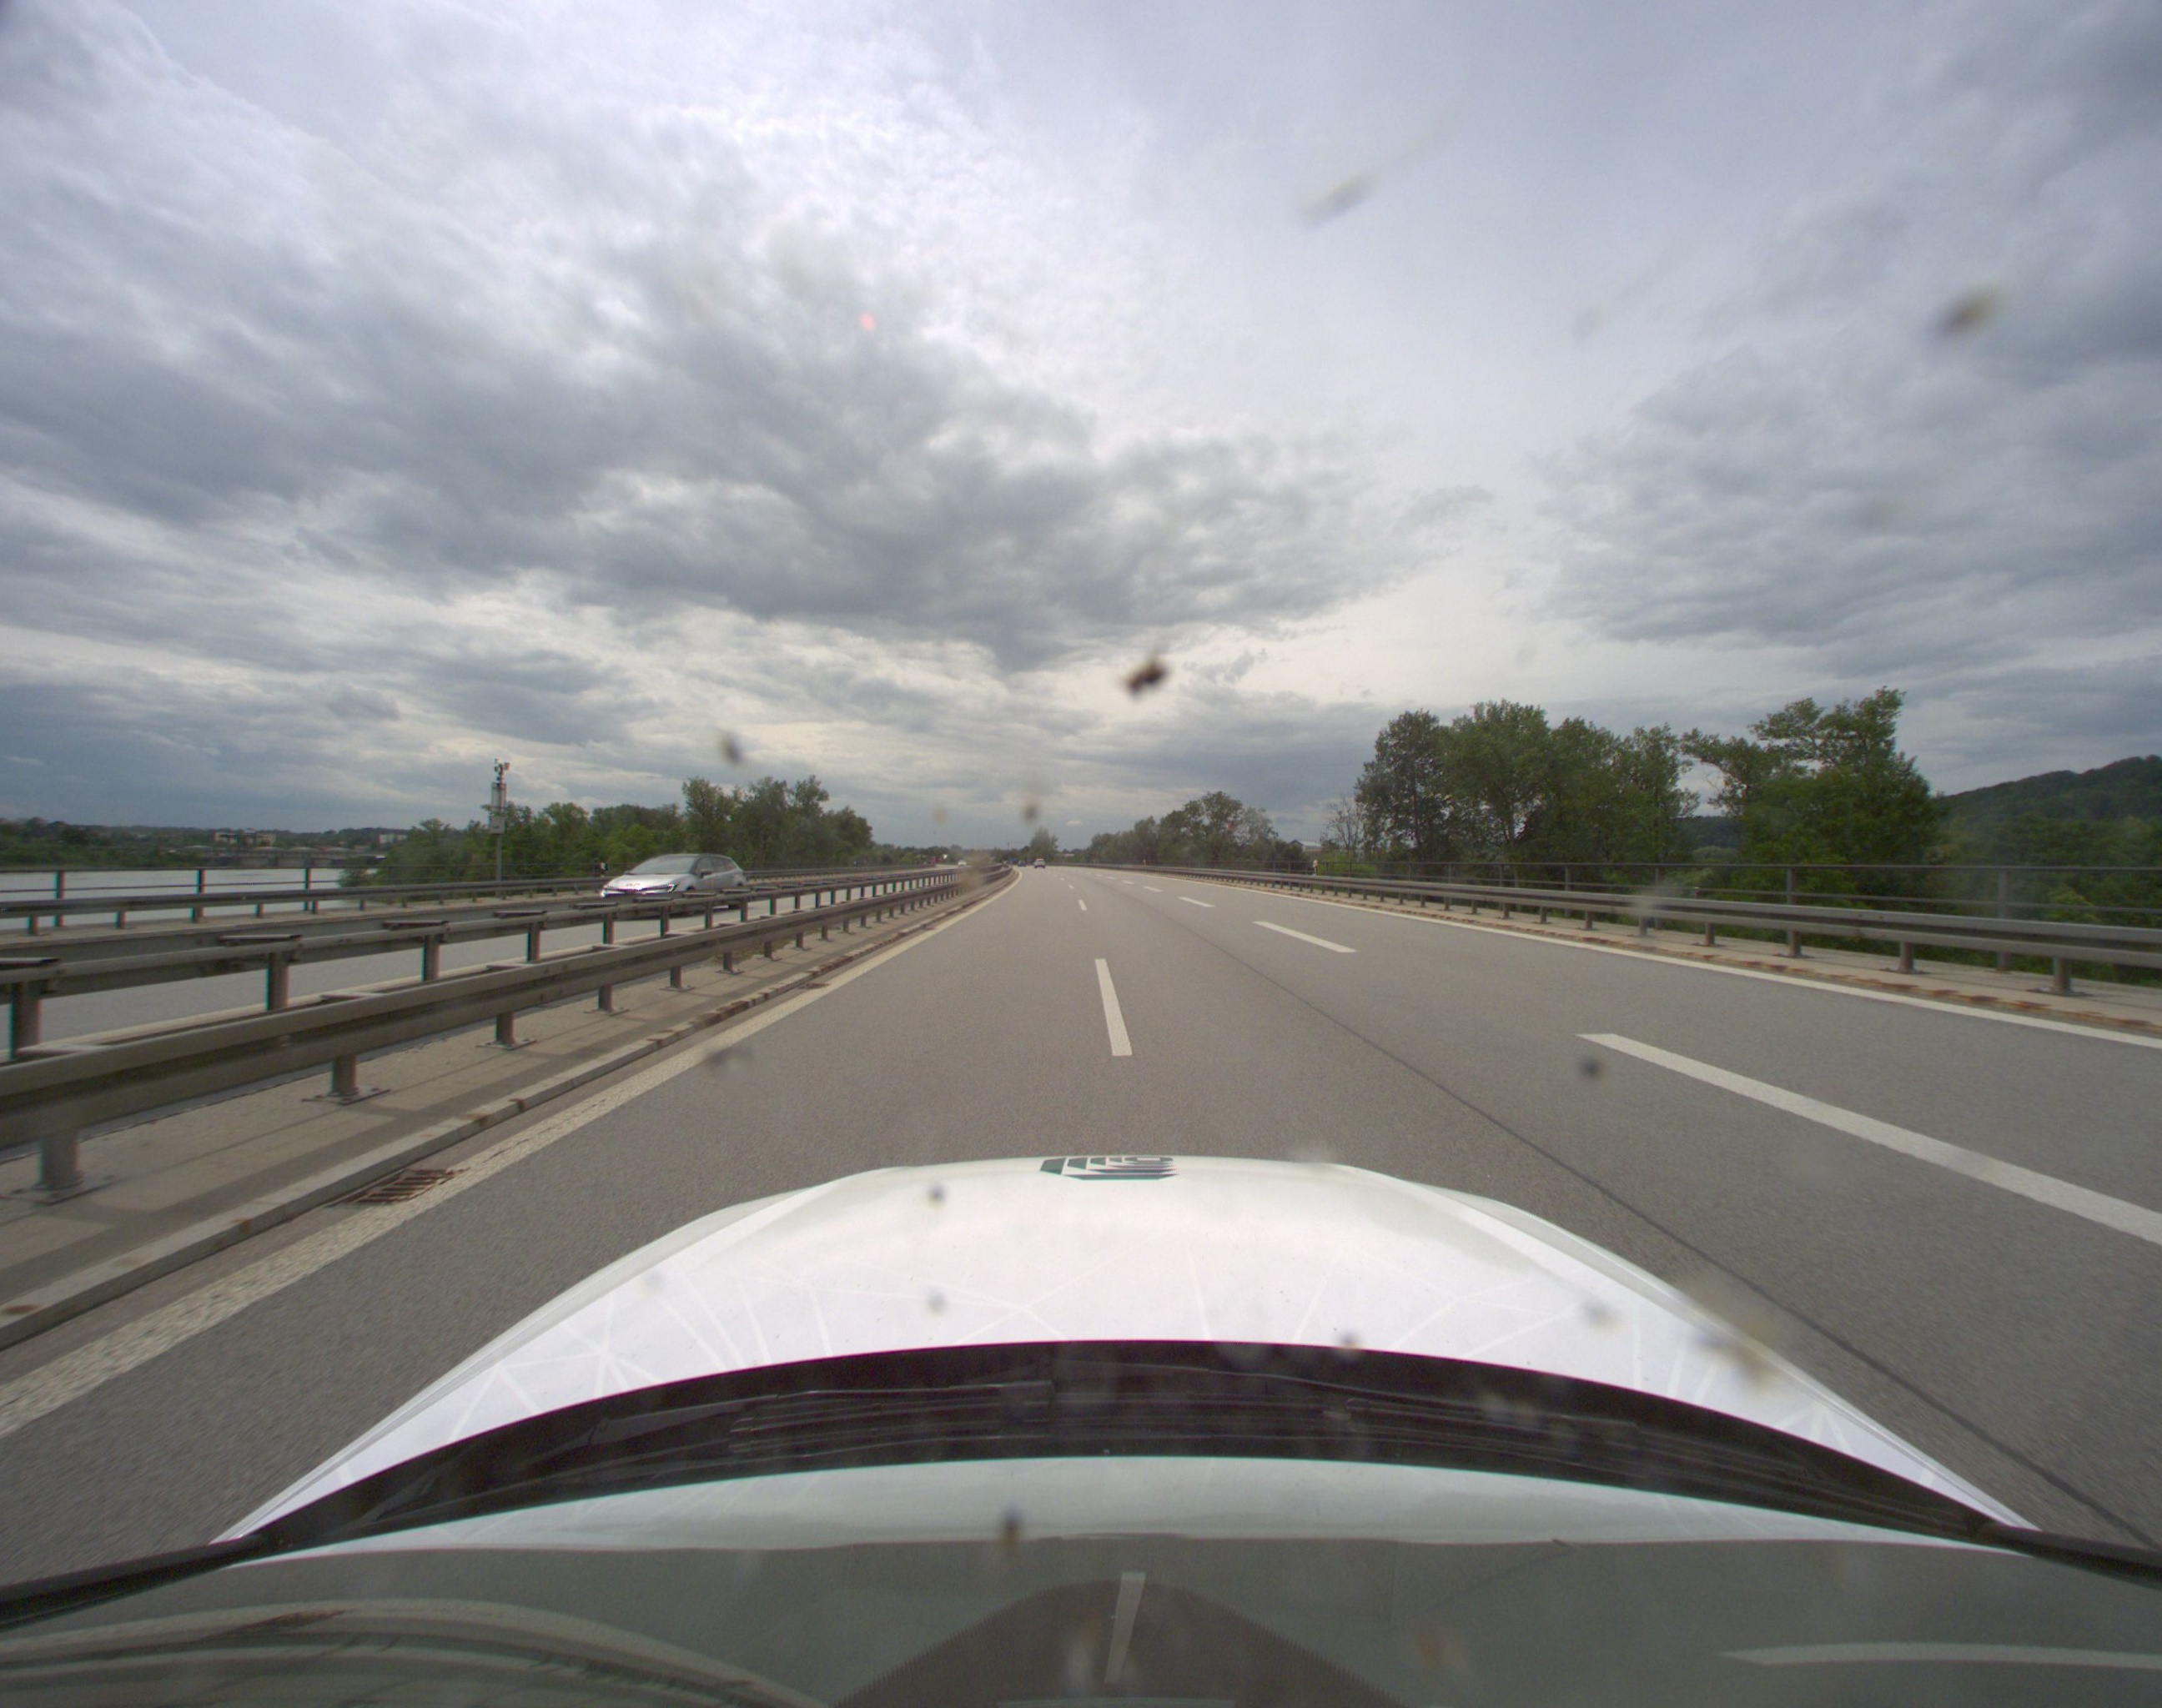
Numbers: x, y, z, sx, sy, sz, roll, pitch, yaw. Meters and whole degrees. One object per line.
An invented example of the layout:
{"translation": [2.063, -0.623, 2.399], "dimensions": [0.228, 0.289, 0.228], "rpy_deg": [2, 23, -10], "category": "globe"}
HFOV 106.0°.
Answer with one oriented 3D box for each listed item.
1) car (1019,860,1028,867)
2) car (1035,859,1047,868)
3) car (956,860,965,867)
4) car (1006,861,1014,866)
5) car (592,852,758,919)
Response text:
{"translation": [-13.889, 2.211, 196.360], "dimensions": [1.893, 1.640, 4.605], "rpy_deg": [-1, 0, -10], "category": "car"}
{"translation": [-7.376, 1.793, 149.918], "dimensions": [1.900, 1.640, 4.385], "rpy_deg": [-1, 0, -7], "category": "car"}
{"translation": [-25.534, 2.023, 172.294], "dimensions": [1.528, 1.407, 4.321], "rpy_deg": [-1, 0, -5], "category": "car"}
{"translation": [-20.832, 2.752, 237.388], "dimensions": [1.903, 1.640, 4.762], "rpy_deg": [-1, -1, -10], "category": "car"}
{"translation": [-9.462, 0.671, 19.431], "dimensions": [1.767, 1.387, 4.386], "rpy_deg": [-1, 0, -1], "category": "car"}
